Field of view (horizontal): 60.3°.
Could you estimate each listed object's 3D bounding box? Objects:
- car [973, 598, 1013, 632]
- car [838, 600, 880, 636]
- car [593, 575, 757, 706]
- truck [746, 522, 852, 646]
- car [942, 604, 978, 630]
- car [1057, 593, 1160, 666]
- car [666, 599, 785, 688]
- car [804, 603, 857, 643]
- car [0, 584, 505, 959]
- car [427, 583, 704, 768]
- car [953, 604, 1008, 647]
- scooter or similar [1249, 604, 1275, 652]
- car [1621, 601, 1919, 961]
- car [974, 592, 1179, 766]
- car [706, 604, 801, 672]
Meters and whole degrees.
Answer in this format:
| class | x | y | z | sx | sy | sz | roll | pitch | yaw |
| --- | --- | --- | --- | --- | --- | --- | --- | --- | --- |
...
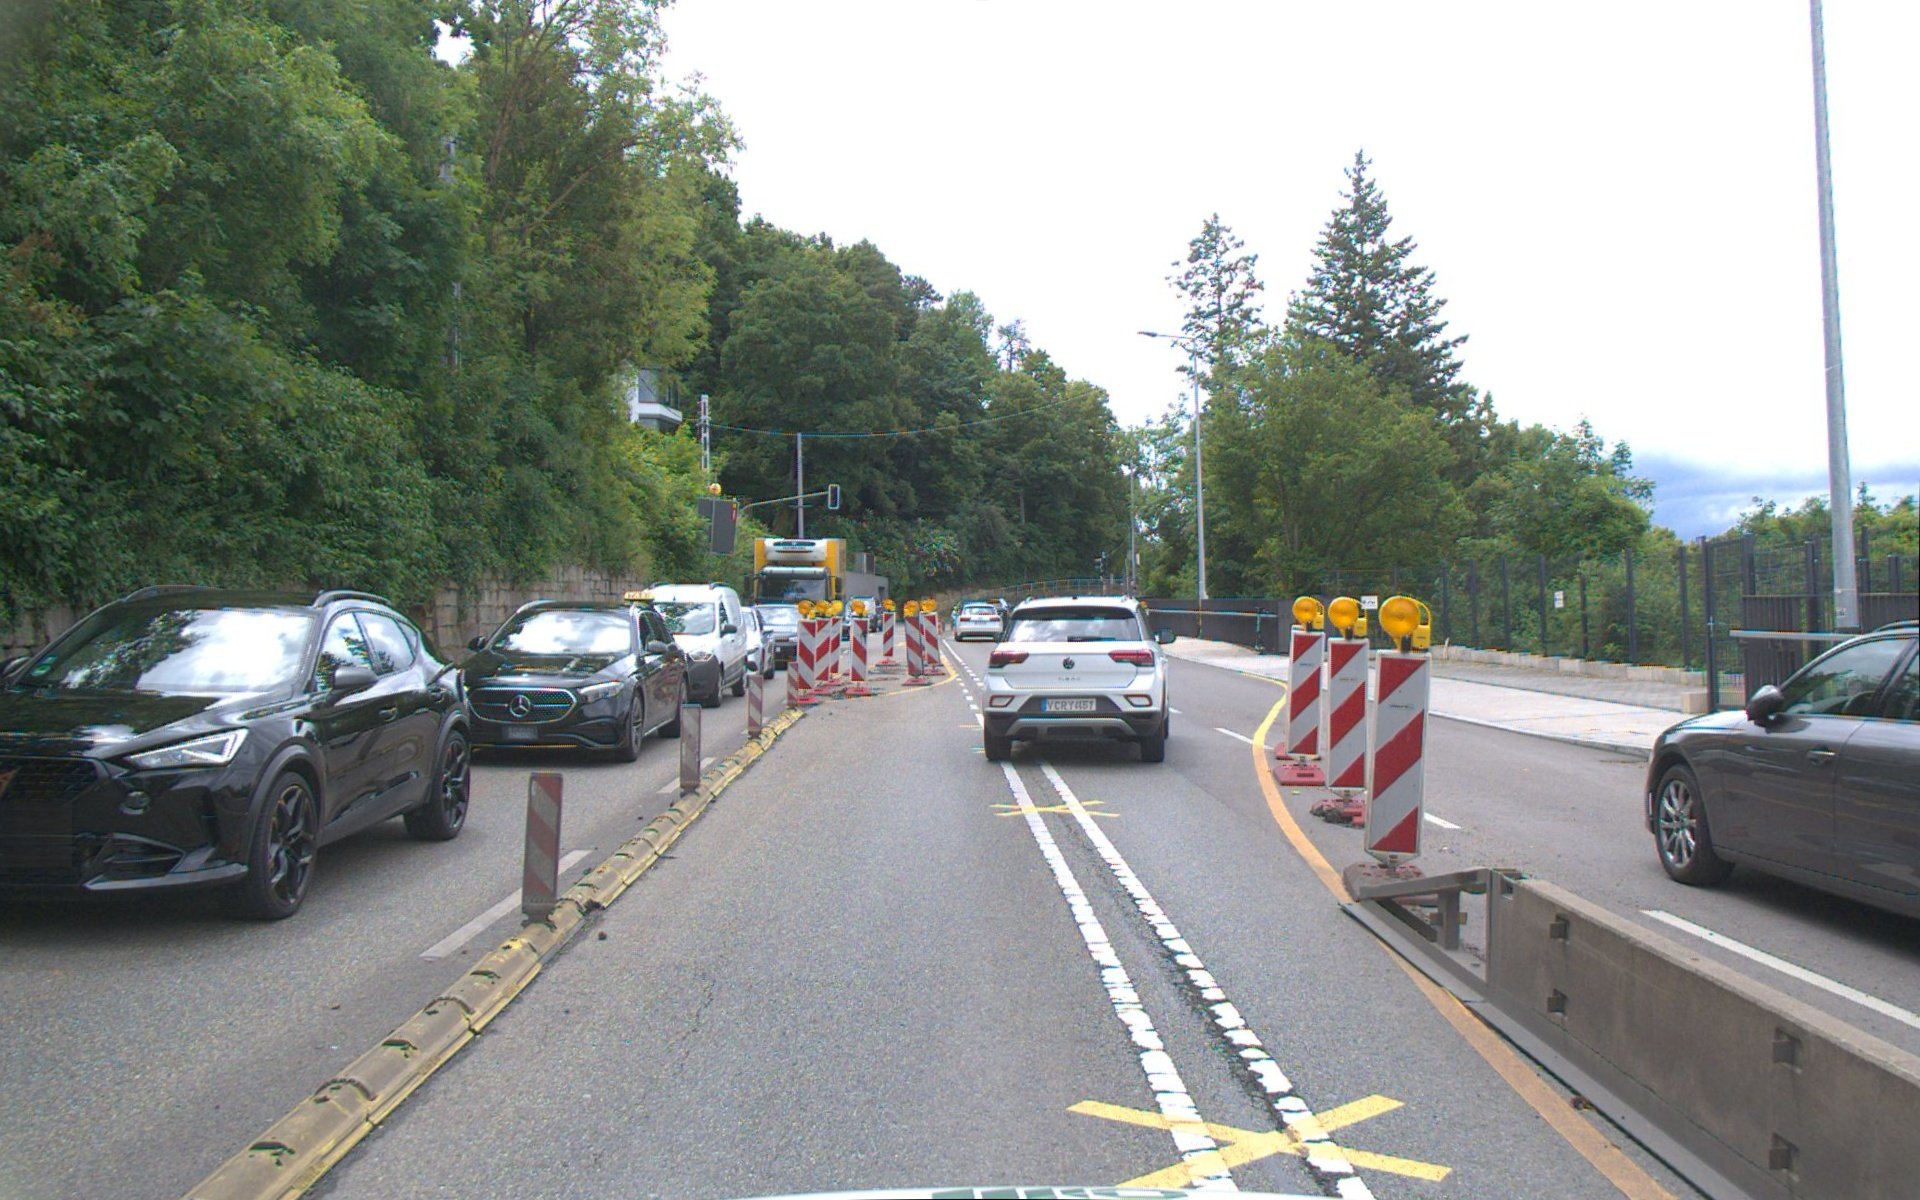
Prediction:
| class | x | y | z | sx | sy | sz | roll | pitch | yaw |
| --- | --- | --- | --- | --- | --- | --- | --- | --- | --- |
| car | 1.749 | 0.791 | 86.153 | 1.777 | 1.719 | 4.002 | 1 | 0 | 5 |
| car | -4.920 | 0.869 | 81.027 | 1.845 | 1.727 | 4.670 | 0 | 0 | -1 |
| car | -4.298 | 0.592 | 25.591 | 1.766 | 1.822 | 4.341 | 1 | 0 | 0 |
| truck | -4.910 | -0.436 | 51.585 | 2.675 | 3.571 | 7.348 | 0 | 0 | -1 |
| car | -0.004 | 0.985 | 98.269 | 1.674 | 1.492 | 3.663 | 1 | 0 | 7 |
| car | 3.481 | 0.691 | 39.453 | 1.953 | 1.614 | 3.998 | 1 | 0 | -2 |
| car | -4.374 | 0.785 | 31.376 | 1.755 | 1.534 | 4.310 | 1 | 0 | -2 |
| car | -4.966 | 0.858 | 63.810 | 1.773 | 1.455 | 4.873 | 0 | 0 | -1 |
| car | -3.932 | 0.706 | 8.899 | 1.791 | 1.511 | 4.317 | 1 | 0 | -1 |
| car | -3.880 | 0.693 | 17.098 | 1.794 | 1.620 | 4.653 | 1 | 0 | -1 |
| car | 0.777 | 0.998 | 65.223 | 1.868 | 1.601 | 3.997 | 1 | 0 | -3 |
| scooter or similar | 8.208 | 0.763 | 44.973 | 0.523 | 1.248 | 1.207 | -2 | 1 | 5 |
| car | 4.848 | 0.749 | 7.508 | 1.802 | 1.480 | 4.626 | 0 | 0 | -1 |
| car | 1.298 | 0.724 | 16.923 | 1.827 | 1.563 | 3.806 | 0 | 0 | 8 |
| car | -4.785 | 0.858 | 38.901 | 1.735 | 1.467 | 4.744 | 1 | 0 | -2 |
